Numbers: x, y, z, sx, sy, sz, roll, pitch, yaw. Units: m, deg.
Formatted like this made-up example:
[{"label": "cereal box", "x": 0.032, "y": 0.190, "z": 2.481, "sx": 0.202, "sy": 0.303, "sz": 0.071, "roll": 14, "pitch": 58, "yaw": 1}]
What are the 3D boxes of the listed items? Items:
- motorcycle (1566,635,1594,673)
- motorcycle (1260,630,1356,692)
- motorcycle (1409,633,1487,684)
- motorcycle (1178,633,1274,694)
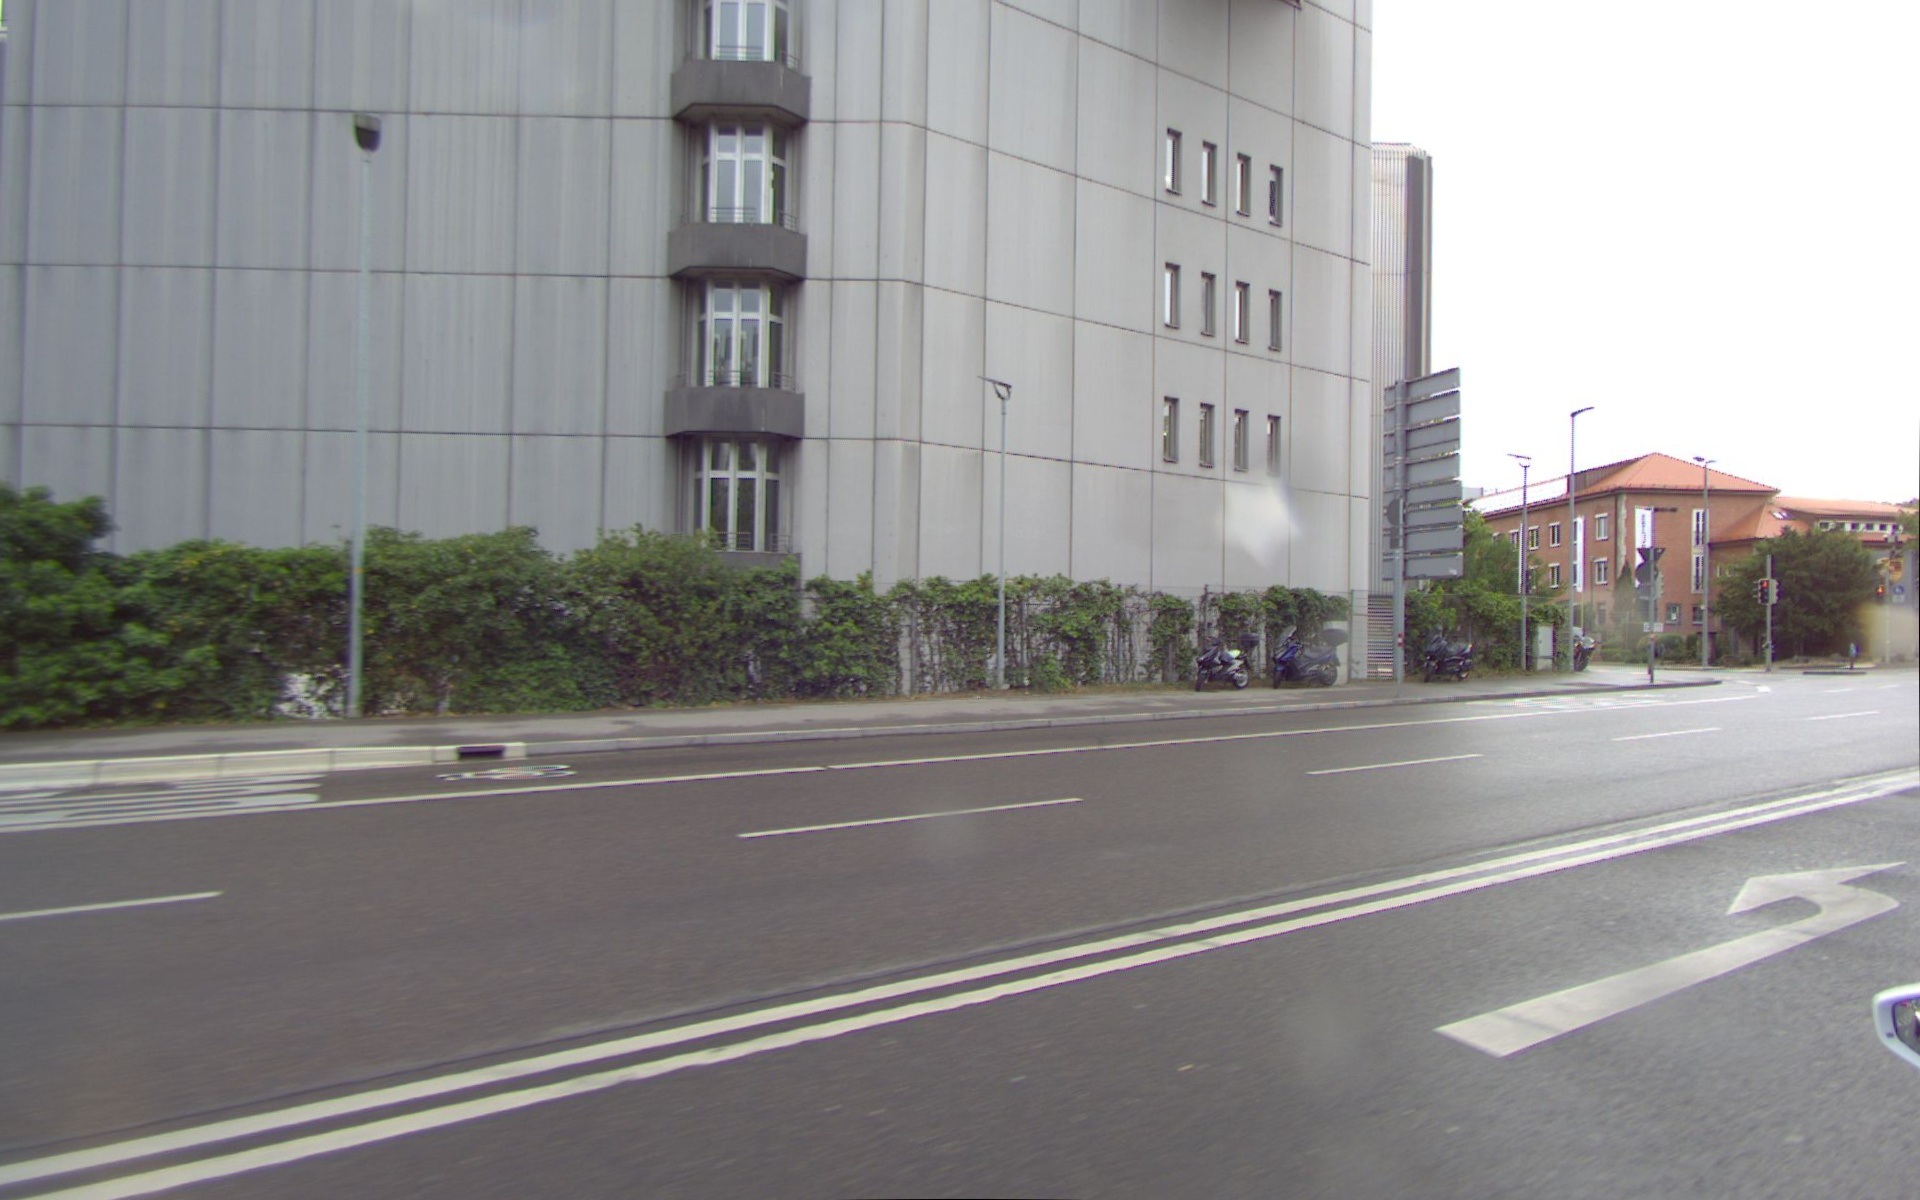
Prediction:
[{"label": "motorcycle", "x": 21.065, "y": 1.803, "z": 34.145, "sx": 0.759, "sy": 1.234, "sz": 2.504, "roll": 0, "pitch": -1, "yaw": 31}, {"label": "motorcycle", "x": 8.029, "y": 1.368, "z": 23.132, "sx": 2.342, "sy": 1.365, "sz": 0.781, "roll": 1, "pitch": -1, "yaw": -31}, {"label": "motorcycle", "x": 12.655, "y": 1.496, "z": 26.018, "sx": 2.132, "sy": 1.263, "sz": 0.781, "roll": 1, "pitch": -1, "yaw": -31}, {"label": "motorcycle", "x": 5.845, "y": 1.371, "z": 22.027, "sx": 2.132, "sy": 1.267, "sz": 0.781, "roll": 1, "pitch": -1, "yaw": -31}]
